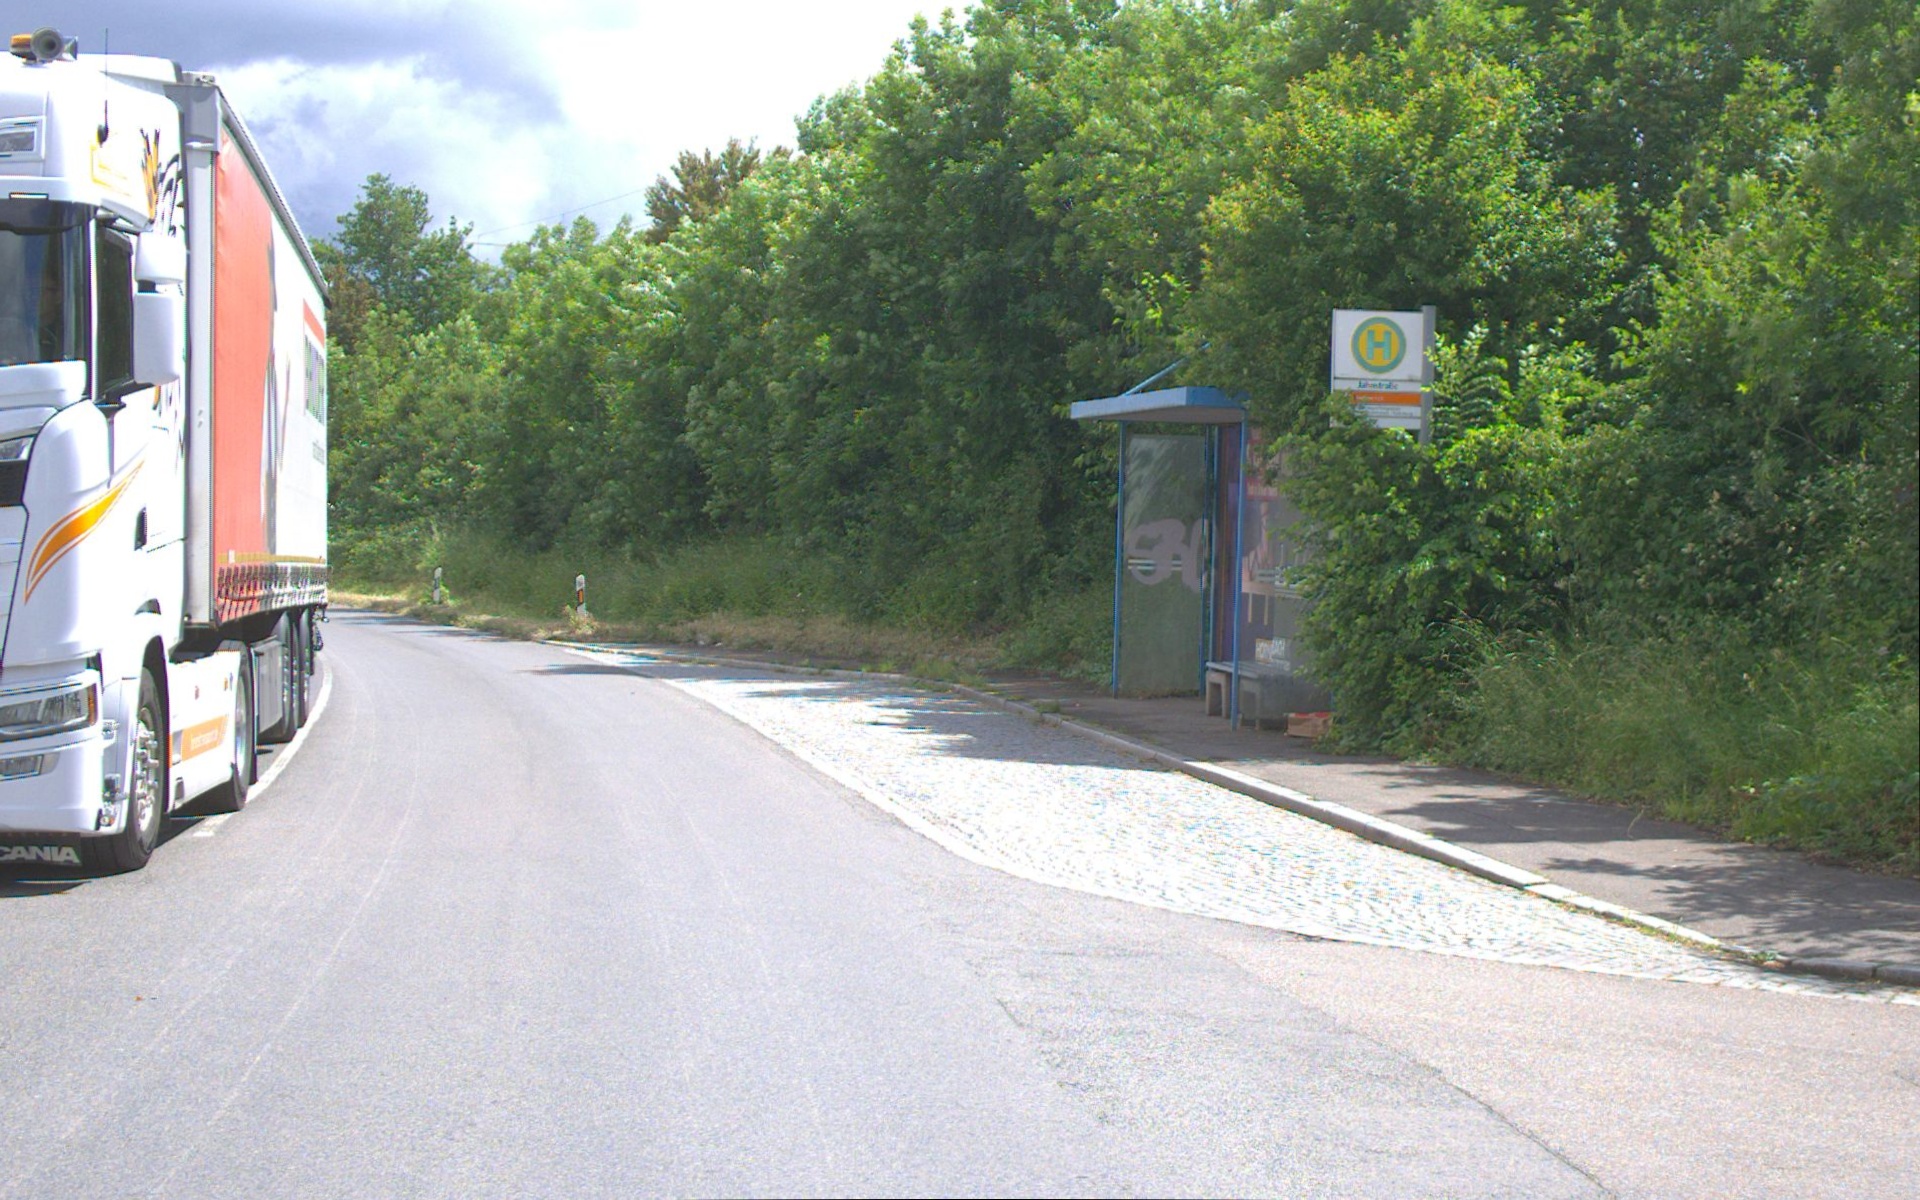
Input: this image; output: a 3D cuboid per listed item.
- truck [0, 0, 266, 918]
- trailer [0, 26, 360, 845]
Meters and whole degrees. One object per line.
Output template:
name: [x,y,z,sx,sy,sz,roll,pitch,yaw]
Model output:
truck: [-5.117,-0.745,17.247,2.770,4.105,4.988,2,1,-8]
trailer: [-6.130,-0.962,25.001,2.770,4.130,15.355,2,1,-8]
